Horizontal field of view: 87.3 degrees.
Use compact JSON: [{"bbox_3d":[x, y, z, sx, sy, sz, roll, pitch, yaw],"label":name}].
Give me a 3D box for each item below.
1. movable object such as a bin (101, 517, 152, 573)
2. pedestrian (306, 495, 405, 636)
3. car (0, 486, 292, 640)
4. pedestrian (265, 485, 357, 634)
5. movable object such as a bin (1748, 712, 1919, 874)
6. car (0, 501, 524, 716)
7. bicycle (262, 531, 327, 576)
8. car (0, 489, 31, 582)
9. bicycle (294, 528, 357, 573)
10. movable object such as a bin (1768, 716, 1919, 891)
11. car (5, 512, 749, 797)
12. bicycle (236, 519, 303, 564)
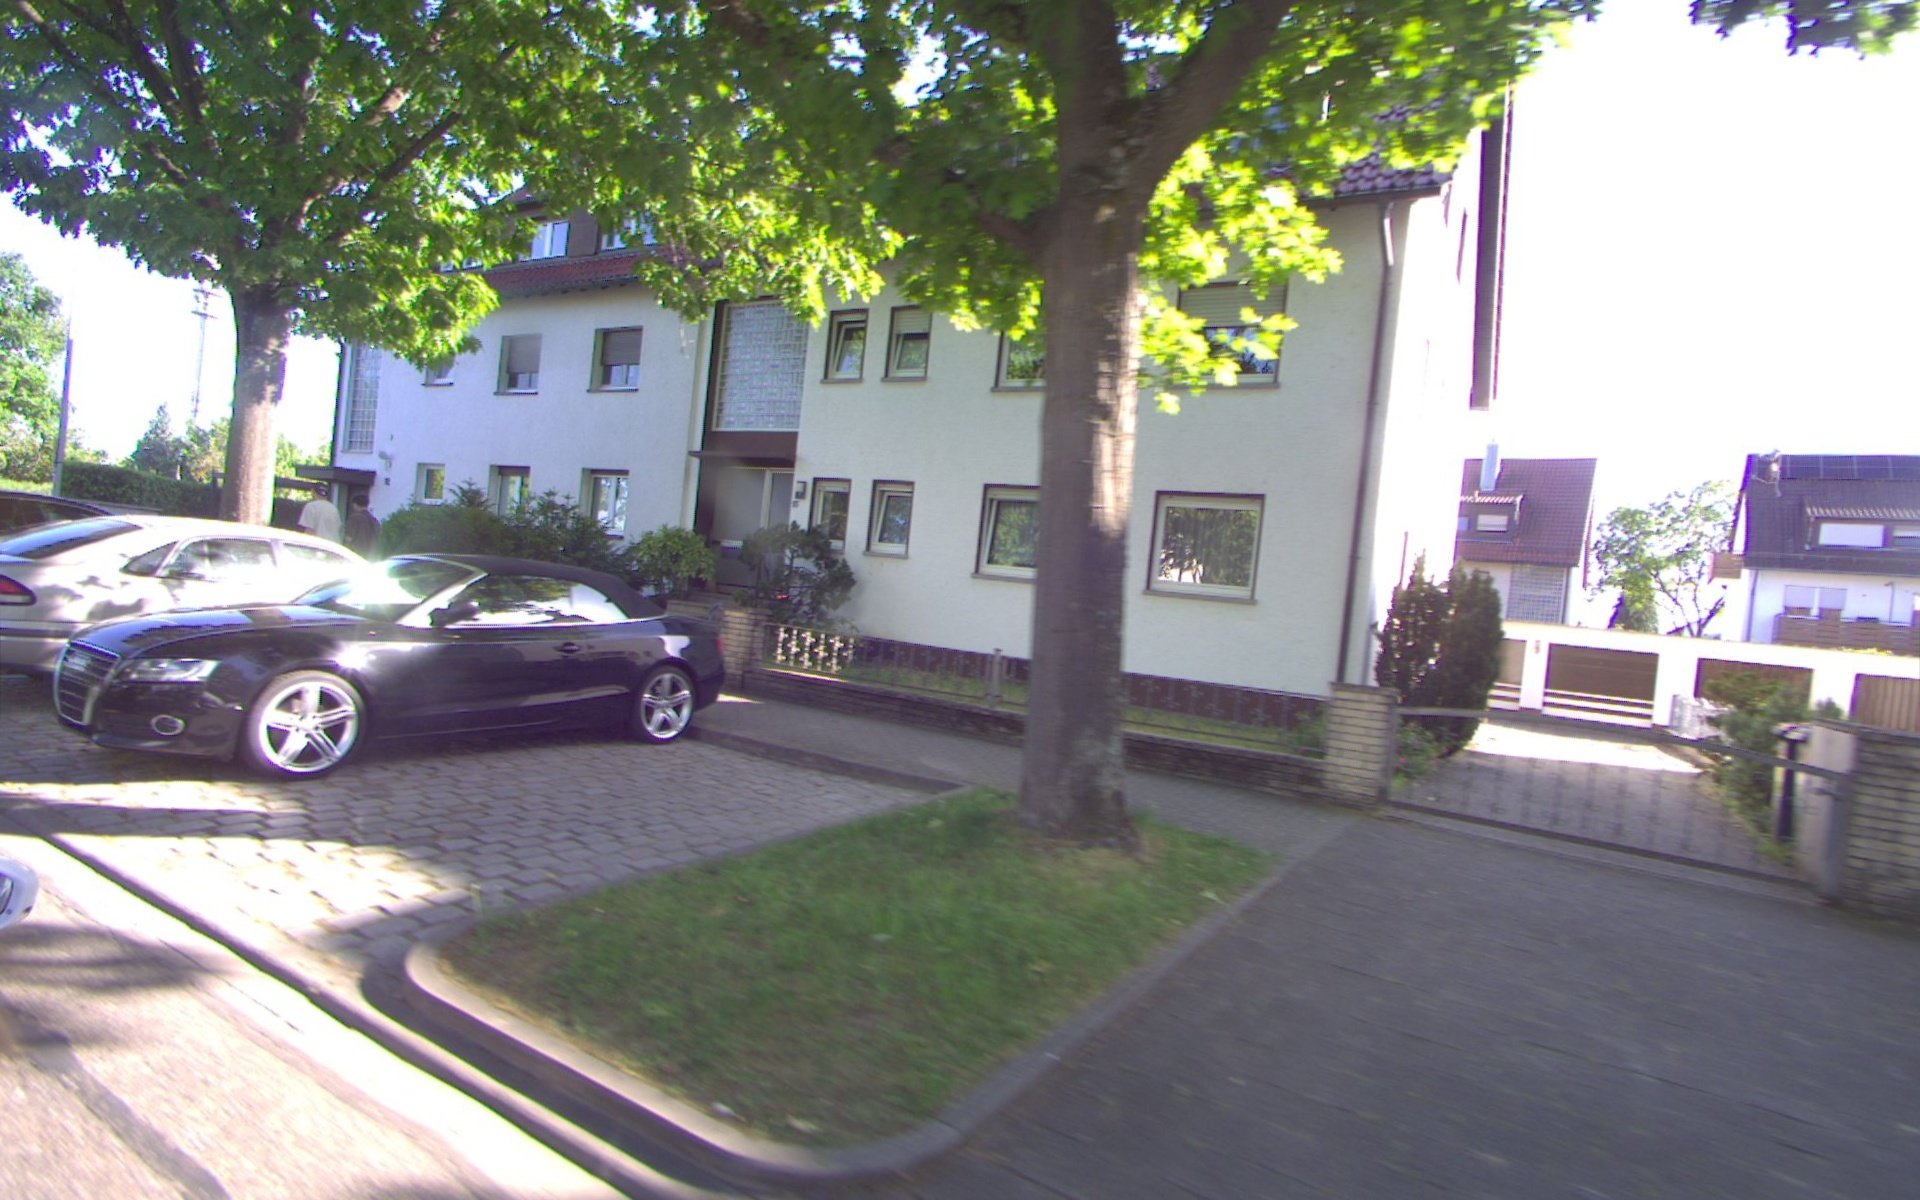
[{"bbox_3d":[-17.048,-1.120,20.583,0.688,1.058,0.535,7,1,30],"label":"movable object such as a bin"},{"bbox_3d":[-8.387,-0.466,13.967,0.699,1.851,0.835,6,1,34],"label":"pedestrian"},{"bbox_3d":[-10.354,-0.465,11.347,1.767,1.522,4.279,7,0,32],"label":"car"},{"bbox_3d":[-8.703,-0.547,13.479,0.909,1.897,0.608,6,1,34],"label":"pedestrian"},{"bbox_3d":[7.191,1.551,8.317,0.891,1.112,0.703,6,1,32],"label":"movable object such as a bin"},{"bbox_3d":[-6.283,0.076,8.705,1.767,1.432,4.279,7,1,32],"label":"car"},{"bbox_3d":[-17.592,-1.218,26.620,0.522,1.068,1.673,6,1,0],"label":"bicycle"},{"bbox_3d":[-17.726,-1.268,15.667,1.767,1.510,4.431,7,1,32],"label":"car"},{"bbox_3d":[-16.821,-1.294,26.708,0.522,1.068,1.673,6,1,0],"label":"bicycle"},{"bbox_3d":[6.830,1.515,7.652,0.891,1.125,0.703,6,1,32],"label":"movable object such as a bin"},{"bbox_3d":[-3.813,0.346,7.432,1.843,1.380,4.349,6,0,32],"label":"car"},{"bbox_3d":[-18.217,-1.525,26.587,0.522,1.068,1.673,6,1,0],"label":"bicycle"}]
